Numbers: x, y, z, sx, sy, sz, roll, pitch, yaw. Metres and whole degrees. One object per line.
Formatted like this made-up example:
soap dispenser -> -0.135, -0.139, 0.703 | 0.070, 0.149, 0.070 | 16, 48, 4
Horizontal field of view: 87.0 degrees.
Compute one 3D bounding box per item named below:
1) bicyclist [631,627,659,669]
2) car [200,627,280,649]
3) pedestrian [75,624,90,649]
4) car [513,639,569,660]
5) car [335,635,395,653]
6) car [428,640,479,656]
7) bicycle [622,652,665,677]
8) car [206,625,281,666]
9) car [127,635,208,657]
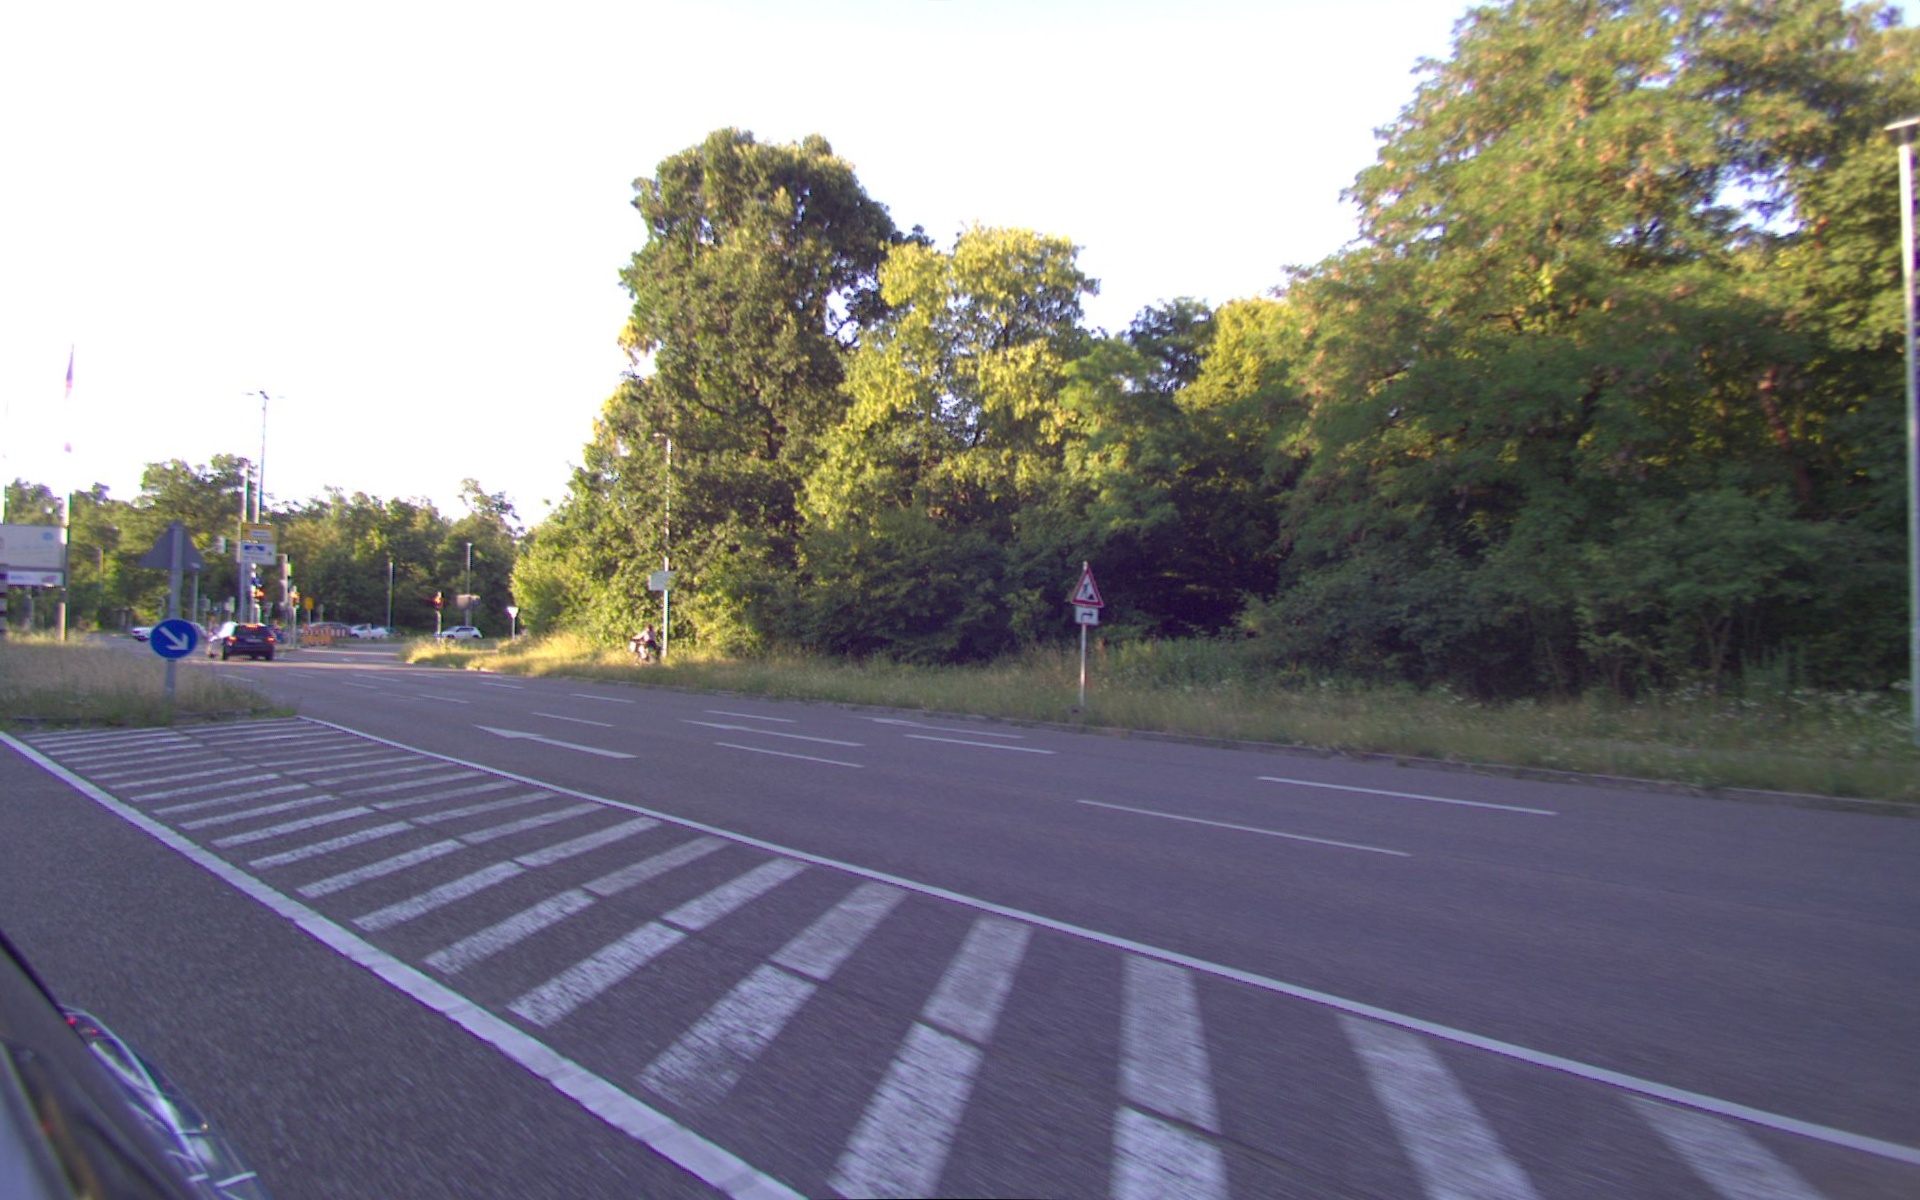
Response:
bicyclist -> -11.005, 1.667, 35.302 | 0.822, 1.440, 0.579 | -2, -3, 44
car -> -49.565, 2.592, 69.789 | 1.712, 1.467, 4.197 | -1, -2, 25
pedestrian -> -63.021, 2.628, 72.646 | 0.738, 1.814, 0.576 | 3, -4, -43
car -> -36.593, 4.317, 88.422 | 1.987, 1.636, 4.362 | 1, -1, 23
car -> -50.383, 3.750, 85.802 | 1.712, 1.467, 4.197 | -1, -2, 25
car -> -49.105, 4.646, 98.160 | 1.717, 1.467, 4.184 | -1, -2, 34
bicycle -> -11.086, 2.252, 35.424 | 1.959, 0.810, 0.579 | -1, -3, 44
car -> -29.412, 1.845, 41.503 | 1.798, 1.545, 4.458 | 5, -4, -44
car -> -56.229, 3.233, 71.869 | 1.712, 1.467, 4.197 | -1, -2, 25
